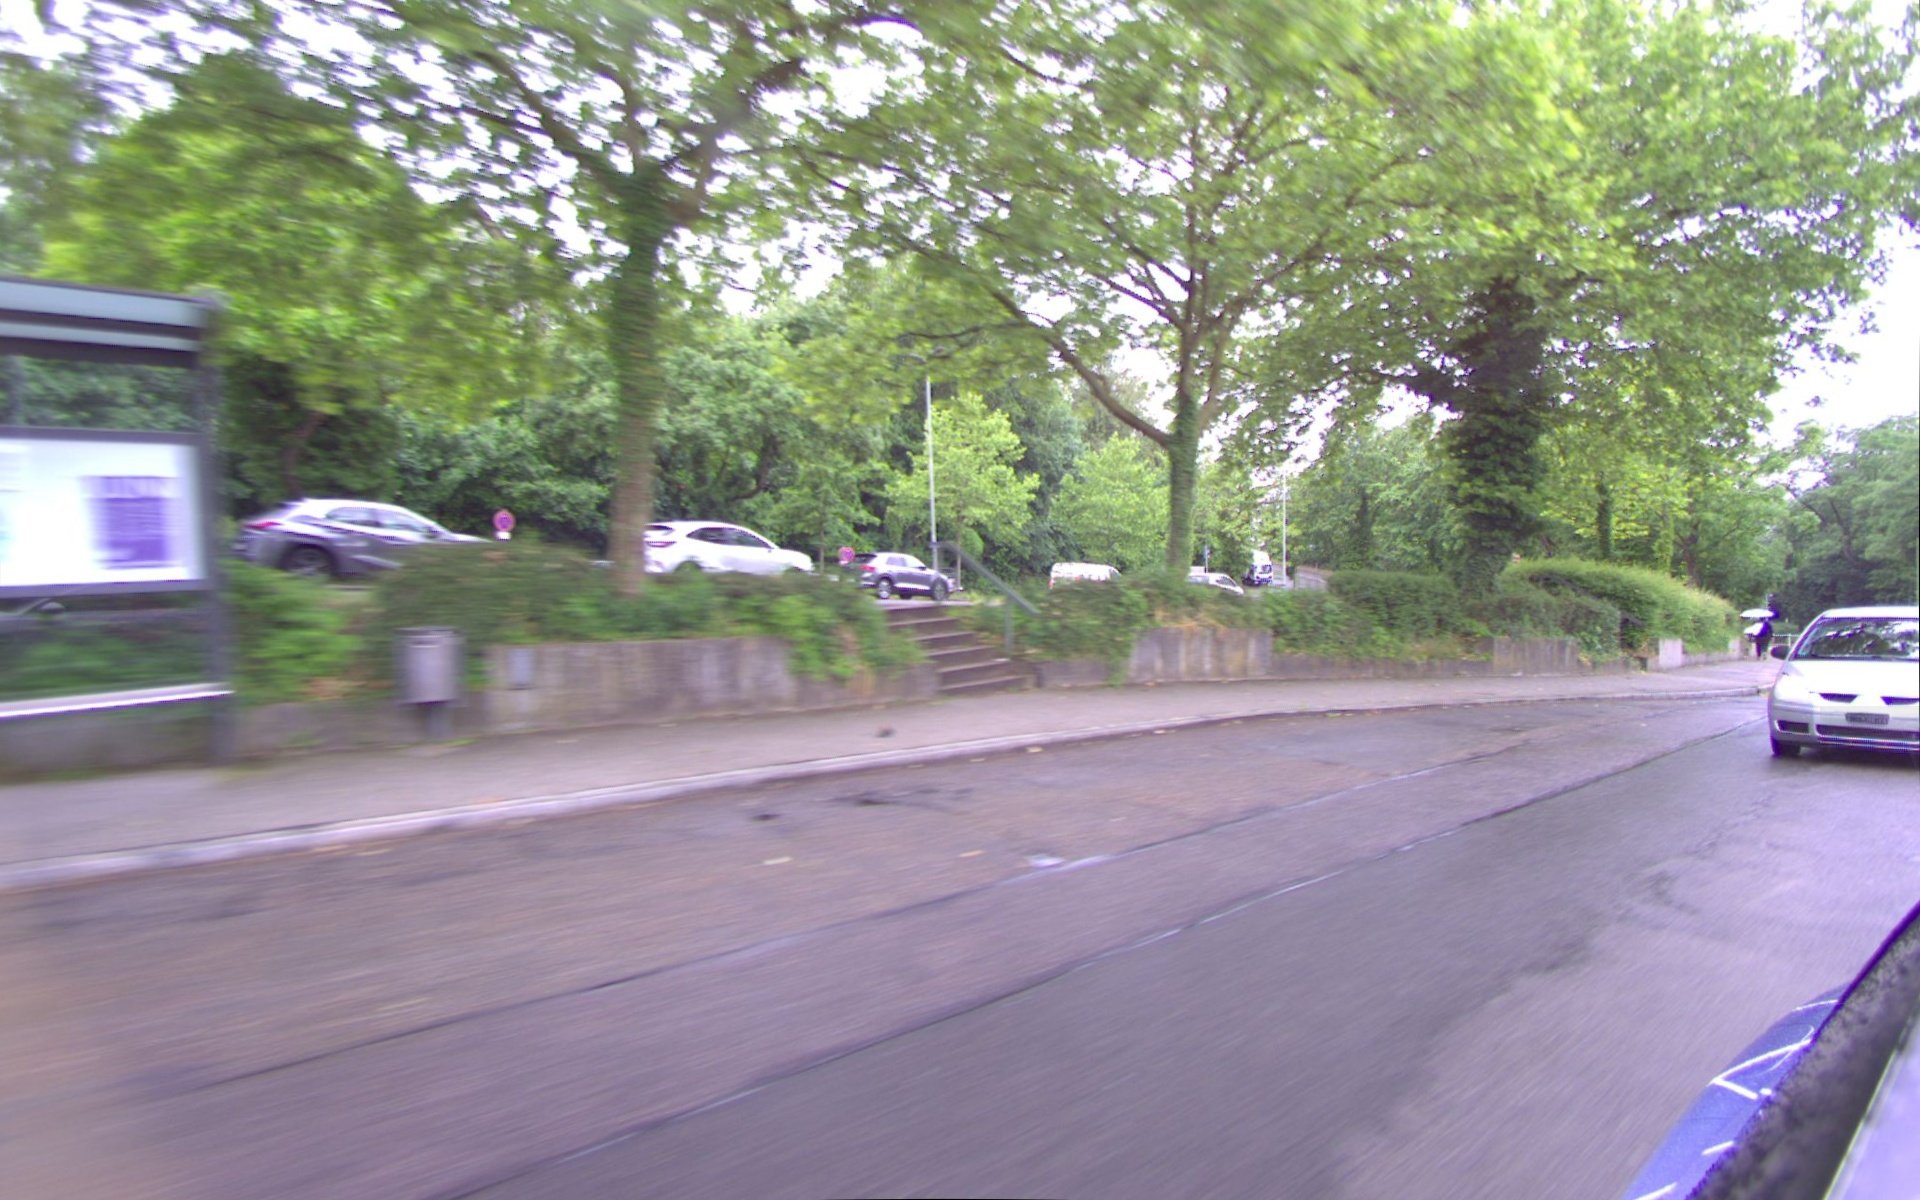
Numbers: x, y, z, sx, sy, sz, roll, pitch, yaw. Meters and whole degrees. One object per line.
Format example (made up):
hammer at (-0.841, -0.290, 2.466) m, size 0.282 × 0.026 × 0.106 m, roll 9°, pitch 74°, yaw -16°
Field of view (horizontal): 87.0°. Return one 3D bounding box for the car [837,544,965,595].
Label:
car at (-1.935, -0.956, 34.022) m, size 1.894 × 1.472 × 4.104 m, roll -2°, pitch -2°, yaw 44°

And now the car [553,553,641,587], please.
car at (-16.547, -1.350, 46.292) m, size 1.688 × 1.338 × 3.676 m, roll -1°, pitch -2°, yaw 26°

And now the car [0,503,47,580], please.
car at (-24.992, -1.432, 25.120) m, size 4.129 × 1.792 × 1.790 m, roll 0°, pitch -2°, yaw 21°

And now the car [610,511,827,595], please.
car at (-5.010, -0.899, 21.350) m, size 1.894 × 1.472 × 4.104 m, roll -2°, pitch -2°, yaw 44°

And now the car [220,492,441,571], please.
car at (-13.586, -1.417, 21.983) m, size 1.734 × 1.352 × 3.726 m, roll -1°, pitch -2°, yaw 40°

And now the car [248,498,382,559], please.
car at (-22.133, -2.414, 34.747) m, size 4.129 × 1.792 × 1.790 m, roll 0°, pitch -2°, yaw 21°

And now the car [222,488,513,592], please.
car at (-10.350, -0.956, 17.866) m, size 4.101 × 1.472 × 1.895 m, roll 2°, pitch -2°, yaw -44°

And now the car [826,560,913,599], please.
car at (-3.972, -0.859, 44.652) m, size 3.569 × 1.543 × 1.702 m, roll 2°, pitch -2°, yaw -45°

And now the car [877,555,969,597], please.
car at (-1.463, -0.945, 41.334) m, size 3.569 × 1.543 × 1.702 m, roll 2°, pitch -2°, yaw -45°

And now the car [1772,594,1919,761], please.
car at (10.113, 0.722, 10.699) m, size 3.929 × 1.524 × 1.638 m, roll 0°, pitch -2°, yaw -41°

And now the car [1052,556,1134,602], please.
car at (6.459, -0.977, 48.988) m, size 4.283 × 2.040 × 1.702 m, roll 2°, pitch -2°, yaw -45°

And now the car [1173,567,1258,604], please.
car at (11.397, -0.599, 45.003) m, size 1.894 × 1.472 × 4.104 m, roll -2°, pitch -2°, yaw 44°

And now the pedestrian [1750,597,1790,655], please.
pedestrian at (27.668, 0.865, 34.574) m, size 1.050 × 1.917 × 1.116 m, roll 0°, pitch 0°, yaw 41°
